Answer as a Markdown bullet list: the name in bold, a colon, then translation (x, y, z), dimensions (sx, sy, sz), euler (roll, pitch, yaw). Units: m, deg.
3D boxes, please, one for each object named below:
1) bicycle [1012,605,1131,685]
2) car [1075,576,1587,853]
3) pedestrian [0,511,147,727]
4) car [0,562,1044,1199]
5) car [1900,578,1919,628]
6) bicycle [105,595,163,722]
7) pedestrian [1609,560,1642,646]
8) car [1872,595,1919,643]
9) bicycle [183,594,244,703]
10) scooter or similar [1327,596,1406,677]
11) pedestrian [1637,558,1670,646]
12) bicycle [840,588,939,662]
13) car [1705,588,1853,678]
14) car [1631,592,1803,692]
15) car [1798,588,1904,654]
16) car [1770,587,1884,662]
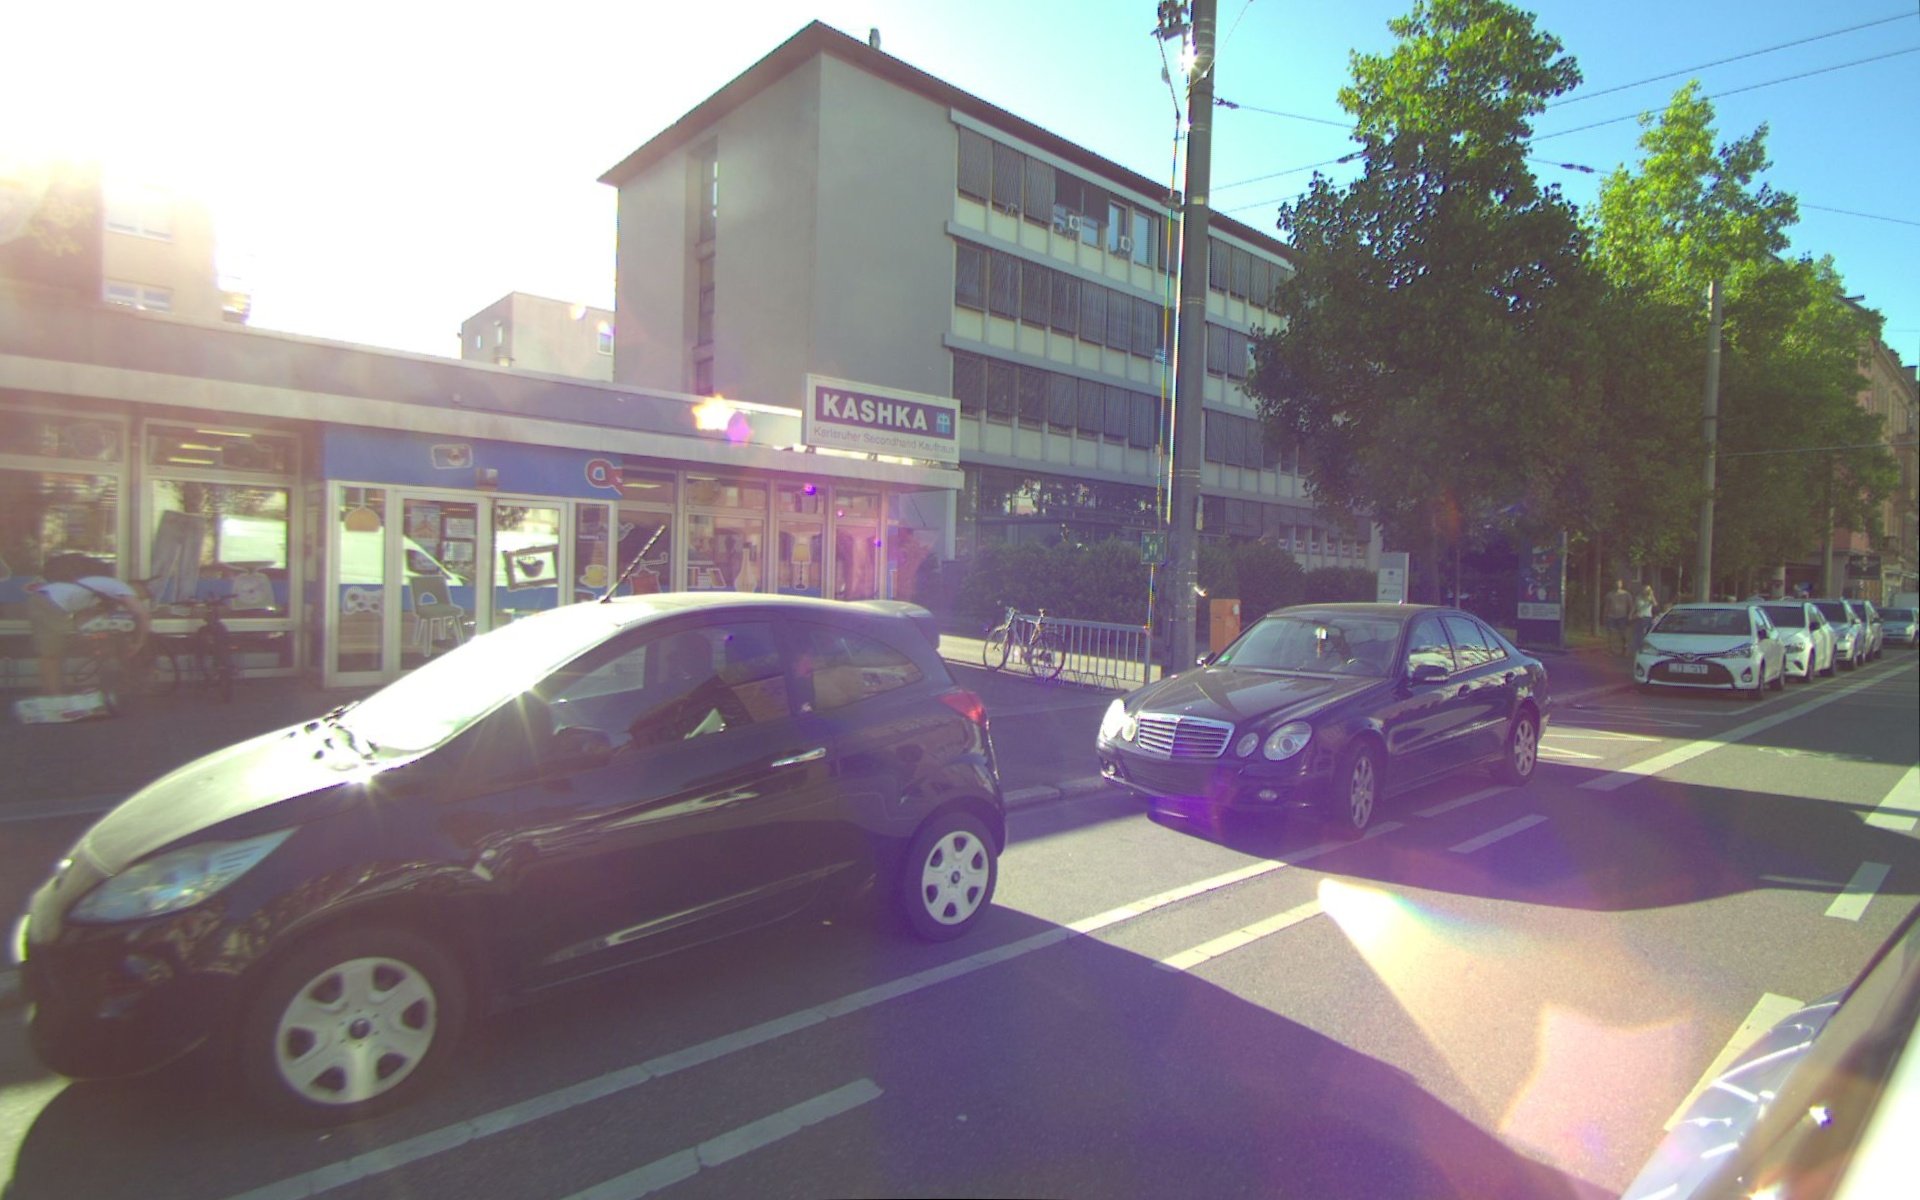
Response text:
- **bicycle**: translation (1.534, 0.599, 14.193), dimensions (0.399, 0.933, 1.811), euler (-1, 4, -44)
- **car**: translation (3.170, 0.604, 7.960), dimensions (4.845, 1.501, 1.731), euler (-2, 1, -42)
- **pedestrian**: translation (-7.511, 0.112, 8.602), dimensions (0.900, 1.667, 1.013), euler (-1, 6, -41)
- **car**: translation (-1.436, 0.642, 4.035), dimensions (3.497, 1.501, 1.573), euler (-1, 0, -42)
- **car**: translation (42.875, 0.095, 44.612), dimensions (4.046, 2.075, 1.731), euler (-2, 1, -42)
- **bicycle**: translation (-7.452, 0.485, 9.116), dimensions (0.334, 0.932, 1.574), euler (-1, 5, -42)
- **pedestrian**: translation (16.114, 0.062, 24.497), dimensions (0.564, 2.039, 0.507), euler (-1, 0, -41)
- **car**: translation (32.989, 0.613, 35.013), dimensions (4.046, 1.501, 1.731), euler (-2, 1, -42)
- **bicycle**: translation (-7.366, 0.438, 9.968), dimensions (0.334, 0.933, 1.573), euler (-1, 3, -42)
- **scooter or similar**: translation (6.605, 0.567, 16.421), dimensions (1.290, 1.224, 0.582), euler (0, 5, -40)
- **pedestrian**: translation (16.499, 0.041, 24.083), dimensions (0.564, 2.039, 0.507), euler (-1, 0, -41)
- **bicycle**: translation (-1.138, 0.367, 15.939), dimensions (0.562, 0.977, 1.806), euler (-1, 5, -41)
- **car**: translation (16.583, 0.579, 20.428), dimensions (4.046, 1.597, 1.731), euler (-1, 1, -42)
- **car**: translation (12.870, 0.629, 17.120), dimensions (3.800, 1.502, 1.730), euler (0, 0, -44)
- **car**: translation (24.182, 0.512, 27.422), dimensions (4.046, 1.570, 1.731), euler (-2, 1, -42)
- **car**: translation (20.716, 0.511, 24.128), dimensions (4.049, 1.615, 1.729), euler (-1, 0, -45)
